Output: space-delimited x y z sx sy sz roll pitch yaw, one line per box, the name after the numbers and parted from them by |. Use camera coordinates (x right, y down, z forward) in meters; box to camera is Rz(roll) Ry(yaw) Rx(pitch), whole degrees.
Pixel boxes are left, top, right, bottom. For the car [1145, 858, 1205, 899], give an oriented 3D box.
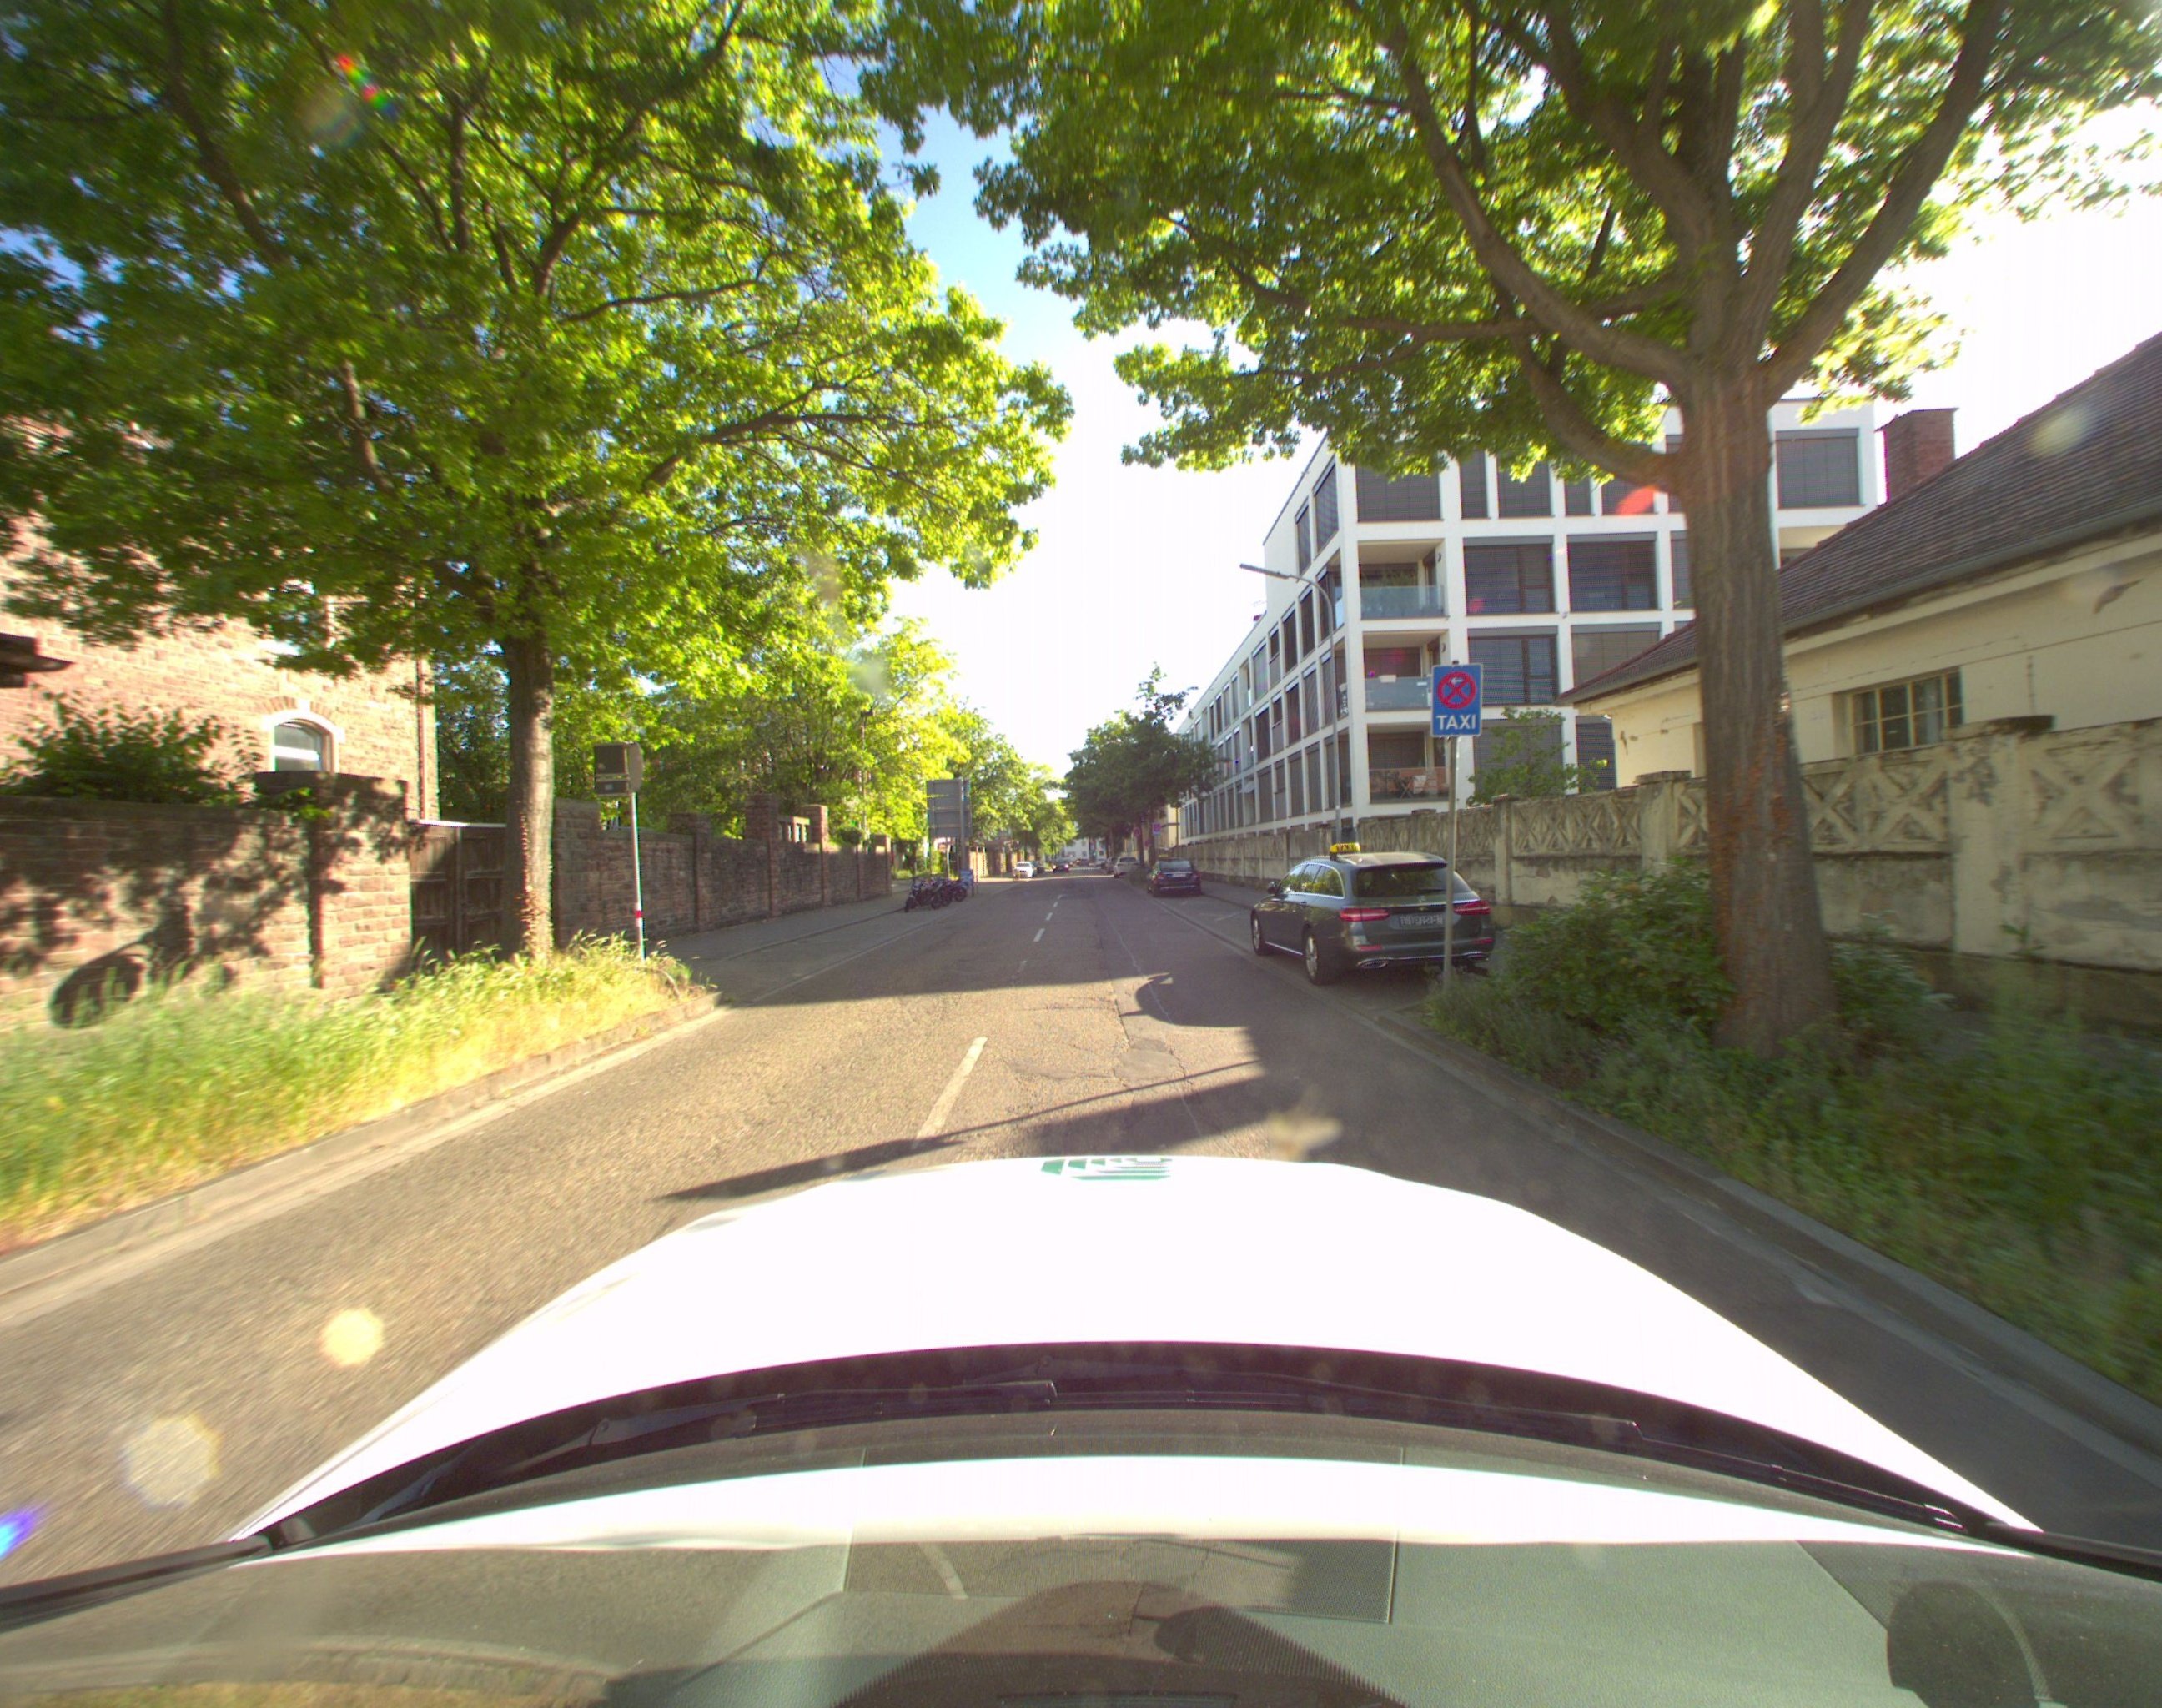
3.630 0.912 32.083 1.762 1.440 3.998 -2 0 -1 | car

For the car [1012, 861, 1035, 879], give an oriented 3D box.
-5.097 1.426 72.783 1.762 1.487 3.998 -2 0 -1 | car

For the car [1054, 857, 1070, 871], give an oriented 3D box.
-2.139 1.126 93.272 1.648 1.530 3.999 -2 0 0 | car

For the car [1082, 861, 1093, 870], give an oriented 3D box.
1.174 2.162 152.022 1.763 1.548 4.061 -2 0 -3 | car

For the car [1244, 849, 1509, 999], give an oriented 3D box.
3.480 0.717 10.665 1.698 1.468 4.788 -2 0 0 | car

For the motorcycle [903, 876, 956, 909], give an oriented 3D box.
-5.501 1.391 29.724 0.570 1.074 2.135 -2 0 33 | motorcycle

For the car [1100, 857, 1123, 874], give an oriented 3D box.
2.823 1.067 76.657 1.987 1.465 3.837 -2 0 1 | car

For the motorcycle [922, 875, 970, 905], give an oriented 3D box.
-5.380 1.421 32.566 0.570 1.074 2.135 -2 0 33 | motorcycle

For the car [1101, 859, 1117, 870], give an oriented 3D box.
3.715 1.385 107.590 1.987 1.425 3.837 -2 0 1 | car

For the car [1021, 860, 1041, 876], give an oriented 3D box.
-5.313 1.452 86.853 1.901 1.530 3.999 -2 0 0 | car

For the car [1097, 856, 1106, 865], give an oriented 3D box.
3.556 1.160 141.857 1.580 1.400 3.837 -2 0 1 | car

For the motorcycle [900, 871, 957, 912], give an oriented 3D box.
-5.295 1.288 28.419 0.570 1.276 2.135 -2 0 33 | motorcycle

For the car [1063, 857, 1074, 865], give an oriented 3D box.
-2.335 1.358 153.298 1.986 1.453 4.001 -2 0 1 | car

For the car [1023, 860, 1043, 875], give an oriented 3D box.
-5.332 1.467 90.994 1.901 1.530 3.999 -2 0 0 | car

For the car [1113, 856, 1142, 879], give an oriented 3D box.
3.469 0.966 60.897 1.944 1.578 3.837 -2 0 1 | car

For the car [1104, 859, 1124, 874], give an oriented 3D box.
3.424 1.278 85.555 1.987 1.425 3.837 -2 0 1 | car

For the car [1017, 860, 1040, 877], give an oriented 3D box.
-5.074 1.420 78.825 1.901 1.530 3.999 -2 0 0 | car

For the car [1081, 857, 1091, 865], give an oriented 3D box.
0.928 1.328 152.691 1.883 1.400 3.837 -2 0 1 | car

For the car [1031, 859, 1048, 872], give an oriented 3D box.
-5.321 1.470 104.057 1.901 1.530 3.999 -2 0 0 | car
